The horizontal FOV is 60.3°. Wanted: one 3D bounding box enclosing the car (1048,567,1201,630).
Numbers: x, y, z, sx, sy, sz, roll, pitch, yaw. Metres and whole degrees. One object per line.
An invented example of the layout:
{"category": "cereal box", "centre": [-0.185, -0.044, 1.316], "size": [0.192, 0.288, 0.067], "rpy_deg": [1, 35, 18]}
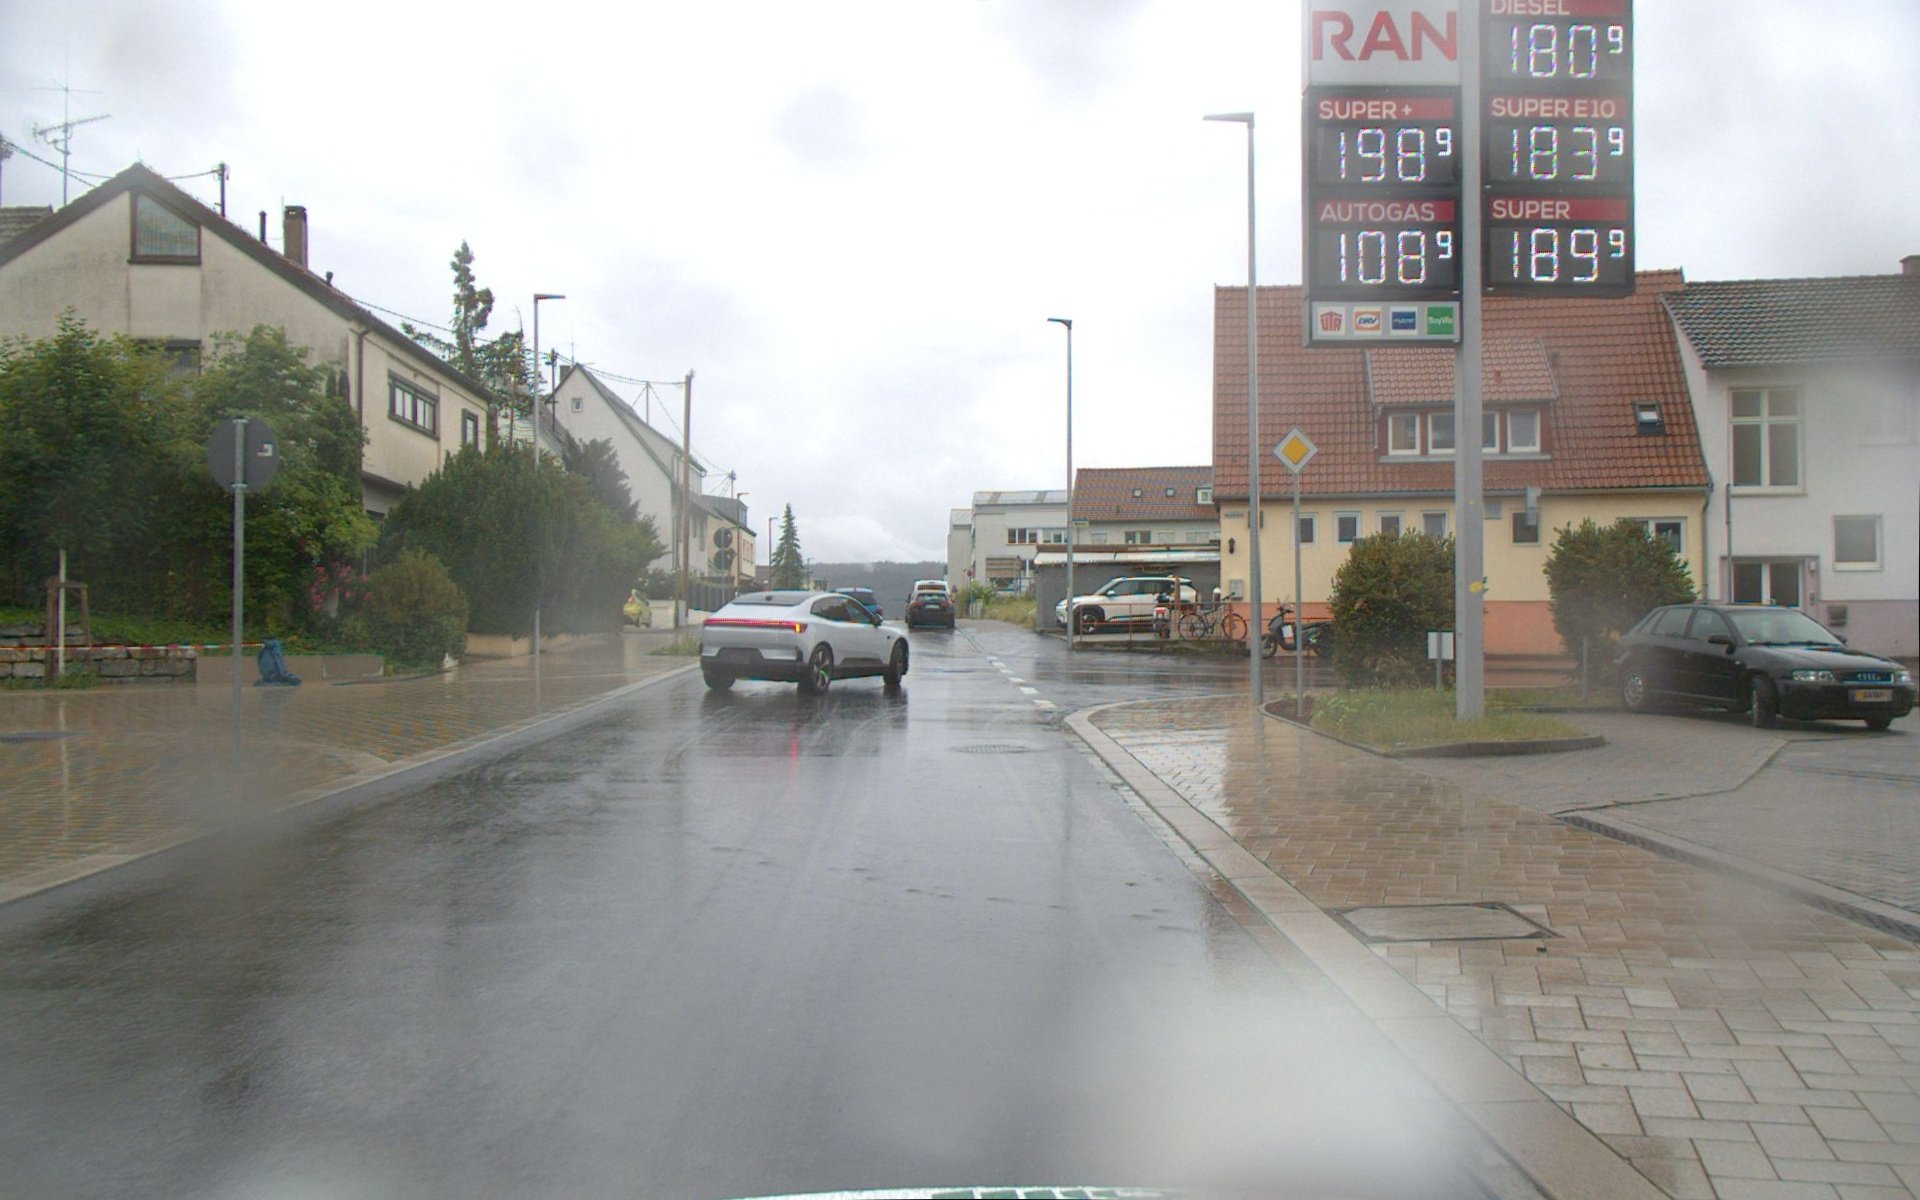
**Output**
{"category": "car", "centre": [4.759, -0.029, 48.136], "size": [4.133, 1.638, 1.859], "rpy_deg": [-2, 0, -4]}

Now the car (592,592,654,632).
{"category": "car", "centre": [-12.929, 0.477, 63.683], "size": [1.742, 1.493, 3.456], "rpy_deg": [0, -1, -1]}

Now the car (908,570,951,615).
{"category": "car", "centre": [-1.348, -0.309, 70.797], "size": [1.733, 1.857, 4.572], "rpy_deg": [1, 0, -2]}

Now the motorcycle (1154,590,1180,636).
{"category": "motorcycle", "centre": [5.270, 0.315, 42.217], "size": [0.477, 1.115, 2.001], "rpy_deg": [0, 1, 2]}

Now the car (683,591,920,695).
{"category": "car", "centre": [-2.445, 0.623, 26.857], "size": [1.953, 1.528, 4.670], "rpy_deg": [0, 0, 21]}

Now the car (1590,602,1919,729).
{"category": "car", "centre": [9.755, 0.724, 20.428], "size": [1.659, 1.363, 4.328], "rpy_deg": [0, 0, -11]}

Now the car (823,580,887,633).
{"category": "car", "centre": [-3.238, 0.180, 51.704], "size": [1.890, 1.566, 4.319], "rpy_deg": [1, 0, -2]}

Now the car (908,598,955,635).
{"category": "car", "centre": [-1.127, 0.630, 64.112], "size": [1.733, 1.359, 4.319], "rpy_deg": [1, 0, -2]}

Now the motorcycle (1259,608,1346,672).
{"category": "motorcycle", "centre": [8.075, 0.940, 39.018], "size": [1.989, 1.482, 0.490], "rpy_deg": [0, 0, 11]}
